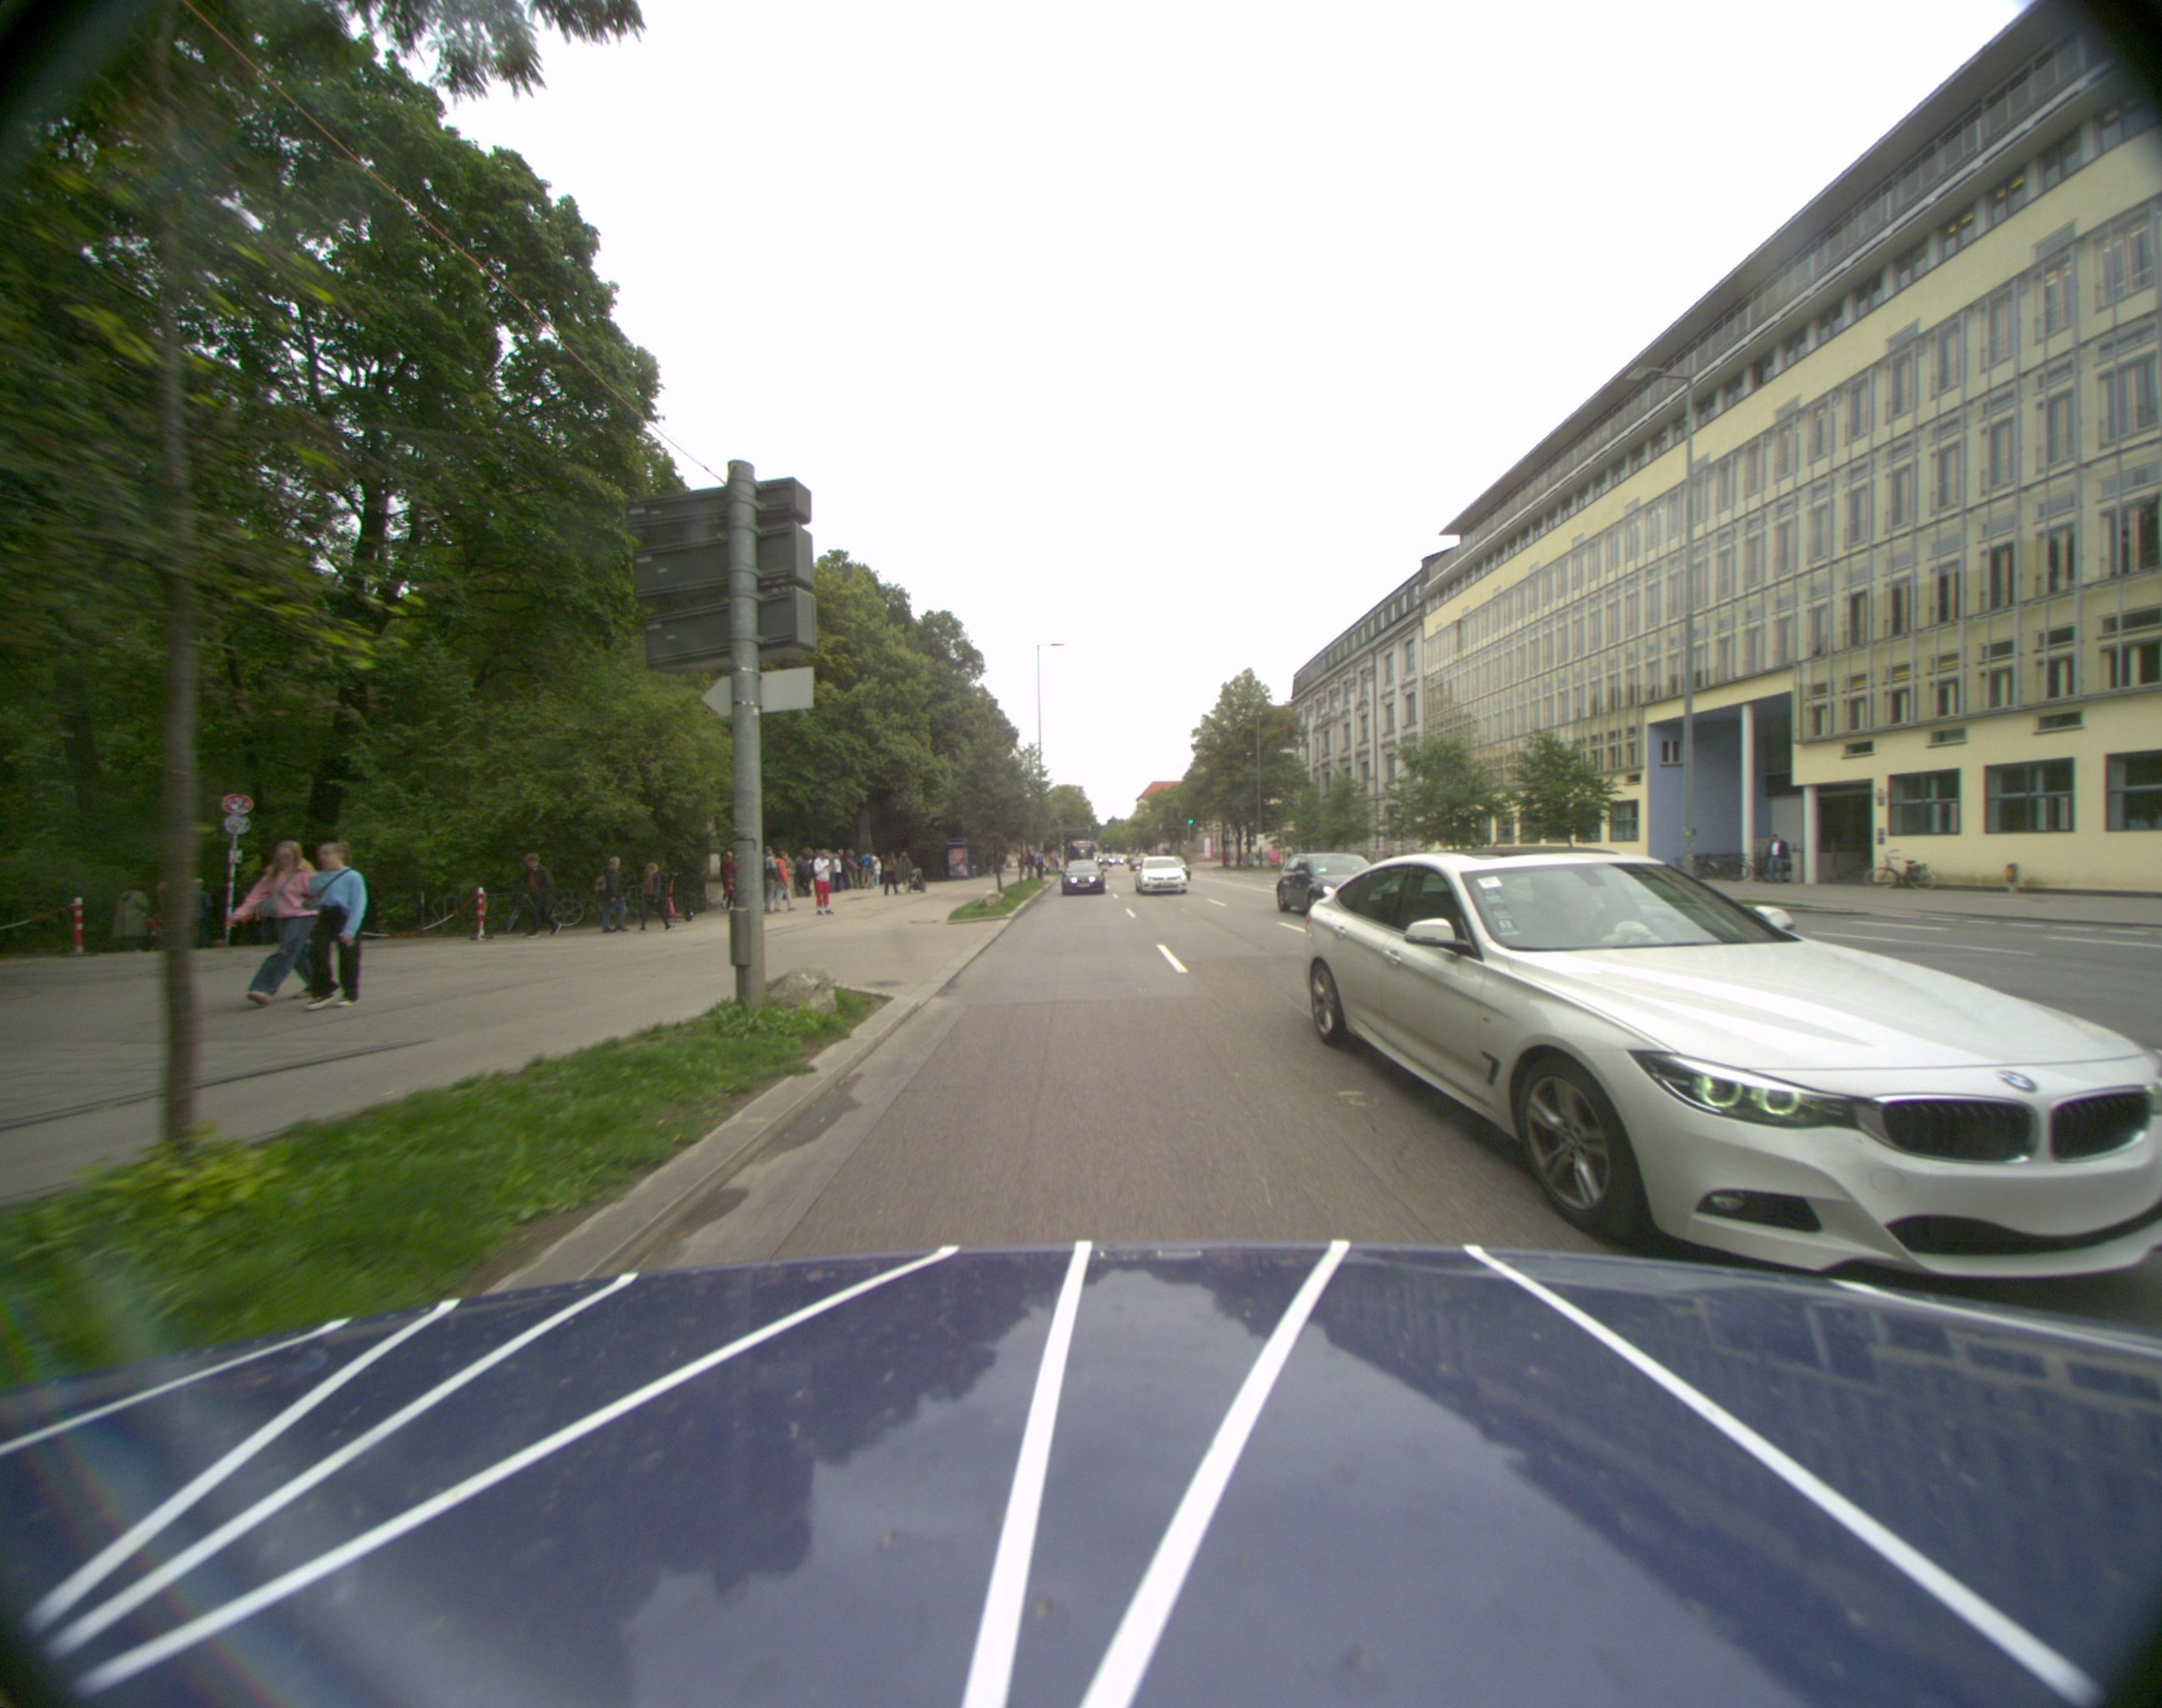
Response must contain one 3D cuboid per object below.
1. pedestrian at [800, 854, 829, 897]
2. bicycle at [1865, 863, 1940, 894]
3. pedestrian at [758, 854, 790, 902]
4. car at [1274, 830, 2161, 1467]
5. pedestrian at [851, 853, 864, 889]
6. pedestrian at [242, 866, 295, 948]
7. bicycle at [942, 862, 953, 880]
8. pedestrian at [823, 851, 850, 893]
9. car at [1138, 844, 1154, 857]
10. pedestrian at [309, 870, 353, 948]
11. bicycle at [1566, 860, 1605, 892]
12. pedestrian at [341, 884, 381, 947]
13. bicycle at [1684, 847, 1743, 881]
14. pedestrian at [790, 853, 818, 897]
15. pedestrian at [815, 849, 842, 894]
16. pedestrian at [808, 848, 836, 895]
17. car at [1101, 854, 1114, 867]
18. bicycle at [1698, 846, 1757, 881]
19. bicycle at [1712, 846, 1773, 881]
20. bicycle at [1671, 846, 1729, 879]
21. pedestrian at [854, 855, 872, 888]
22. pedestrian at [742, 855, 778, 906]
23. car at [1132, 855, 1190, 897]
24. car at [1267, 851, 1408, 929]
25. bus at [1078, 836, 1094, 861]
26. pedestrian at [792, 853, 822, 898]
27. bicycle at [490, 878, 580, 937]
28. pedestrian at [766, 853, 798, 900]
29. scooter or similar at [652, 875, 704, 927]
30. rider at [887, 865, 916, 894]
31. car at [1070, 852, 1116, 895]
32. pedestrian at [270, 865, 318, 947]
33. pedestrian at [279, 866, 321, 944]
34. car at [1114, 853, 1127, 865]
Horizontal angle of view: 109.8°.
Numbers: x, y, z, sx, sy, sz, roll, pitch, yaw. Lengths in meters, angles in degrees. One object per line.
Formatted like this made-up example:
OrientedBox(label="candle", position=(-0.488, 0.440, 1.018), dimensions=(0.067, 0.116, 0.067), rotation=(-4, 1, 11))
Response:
OrientedBox(label="pedestrian", position=(-10.885, 0.873, 31.041), dimensions=(0.814, 1.681, 0.729), rotation=(-2, 1, 3))
OrientedBox(label="bicycle", position=(25.132, 0.729, 23.282), dimensions=(0.478, 0.872, 1.737), rotation=(-1, 0, 3))
OrientedBox(label="pedestrian", position=(-10.890, 0.827, 26.955), dimensions=(0.814, 1.681, 0.729), rotation=(0, 1, 3))
OrientedBox(label="car", position=(2.689, 0.726, 4.467), dimensions=(1.797, 1.627, 5.025), rotation=(-1, 1, 0))
OrientedBox(label="pedestrian", position=(-10.887, 0.821, 37.054), dimensions=(0.421, 1.694, 0.442), rotation=(-2, 1, 2))
OrientedBox(label="pedestrian", position=(-17.991, 1.165, 16.821), dimensions=(0.610, 1.753, 0.552), rotation=(-2, 1, 22))
OrientedBox(label="bicycle", position=(-8.377, 1.059, 47.683), dimensions=(0.394, 1.054, 1.576), rotation=(-2, 0, 0))
OrientedBox(label="pedestrian", position=(-10.711, 0.793, 33.312), dimensions=(0.814, 1.780, 0.729), rotation=(-2, 1, 3))
OrientedBox(label="car", position=(9.233, -0.496, 108.246), dimensions=(1.862, 1.738, 4.629), rotation=(0, 0, 1))
OrientedBox(label="pedestrian", position=(-17.191, 1.249, 17.424), dimensions=(0.407, 1.753, 0.519), rotation=(-2, 1, 22))
OrientedBox(label="bicycle", position=(16.909, 0.731, 25.489), dimensions=(0.281, 1.007, 1.384), rotation=(-2, 1, -3))
OrientedBox(label="pedestrian", position=(-17.273, 1.461, 18.231), dimensions=(0.407, 1.465, 0.519), rotation=(-2, 1, 22))
OrientedBox(label="bicycle", position=(26.231, 0.404, 31.514), dimensions=(2.014, 1.311, 0.574), rotation=(-2, 1, -5))
OrientedBox(label="pedestrian", position=(-10.754, 0.796, 29.502), dimensions=(0.814, 1.681, 0.729), rotation=(0, 1, 3))
OrientedBox(label="pedestrian", position=(-10.806, 0.729, 32.548), dimensions=(0.814, 1.864, 0.729), rotation=(-2, 1, 3))
OrientedBox(label="pedestrian", position=(-10.845, 0.724, 31.783), dimensions=(0.814, 1.906, 0.729), rotation=(-2, 1, 3))
OrientedBox(label="car", position=(3.437, 0.795, 98.763), dimensions=(1.638, 1.562, 3.945), rotation=(-1, 0, 0))
OrientedBox(label="bicycle", position=(26.277, 0.383, 30.893), dimensions=(2.014, 1.311, 0.574), rotation=(-2, 1, -5))
OrientedBox(label="bicycle", position=(26.342, 0.361, 30.282), dimensions=(2.014, 1.311, 0.574), rotation=(-2, 1, -5))
OrientedBox(label="bicycle", position=(26.193, 0.368, 32.166), dimensions=(2.014, 1.311, 0.638), rotation=(-2, 1, -5))
OrientedBox(label="pedestrian", position=(-10.900, 0.871, 38.010), dimensions=(0.637, 1.607, 0.533), rotation=(-2, 1, 3))
OrientedBox(label="pedestrian", position=(-10.962, 0.882, 25.971), dimensions=(0.814, 1.681, 0.729), rotation=(-2, 1, 3))
OrientedBox(label="car", position=(3.072, 0.808, 29.983), dimensions=(1.797, 1.439, 4.274), rotation=(-1, 1, 0))
OrientedBox(label="car", position=(5.662, 0.706, 17.347), dimensions=(1.696, 1.507, 4.338), rotation=(-1, 0, -1))
OrientedBox(label="bus", position=(0.535, -0.601, 83.405), dimensions=(1.638, 2.570, 6.701), rotation=(-1, 0, 0))
OrientedBox(label="pedestrian", position=(-10.915, 0.839, 30.305), dimensions=(0.814, 1.729, 0.729), rotation=(-2, 1, 3))
OrientedBox(label="bicycle", position=(-12.658, 1.229, 17.665), dimensions=(1.602, 1.232, 0.391), rotation=(-3, 1, -27))
OrientedBox(label="pedestrian", position=(-10.900, 0.814, 27.746), dimensions=(0.814, 1.681, 0.729), rotation=(-1, 1, 3))
OrientedBox(label="scooter or similar", position=(-10.058, 1.175, 18.947), dimensions=(1.563, 1.249, 0.349), rotation=(-2, 1, 31))
OrientedBox(label="rider", position=(-7.288, 1.016, 30.915), dimensions=(0.766, 1.106, 1.244), rotation=(-2, 1, 5))
OrientedBox(label="car", position=(0.462, 0.770, 32.297), dimensions=(1.797, 1.627, 4.274), rotation=(-1, 1, 0))
OrientedBox(label="pedestrian", position=(-17.381, 1.140, 16.782), dimensions=(0.520, 1.753, 0.569), rotation=(-2, 1, 32))
OrientedBox(label="pedestrian", position=(-17.846, 1.155, 17.368), dimensions=(0.526, 1.753, 0.437), rotation=(-2, 1, 22))
OrientedBox(label="car", position=(5.731, 0.720, 111.122), dimensions=(1.638, 1.562, 3.945), rotation=(-1, 0, 0))
